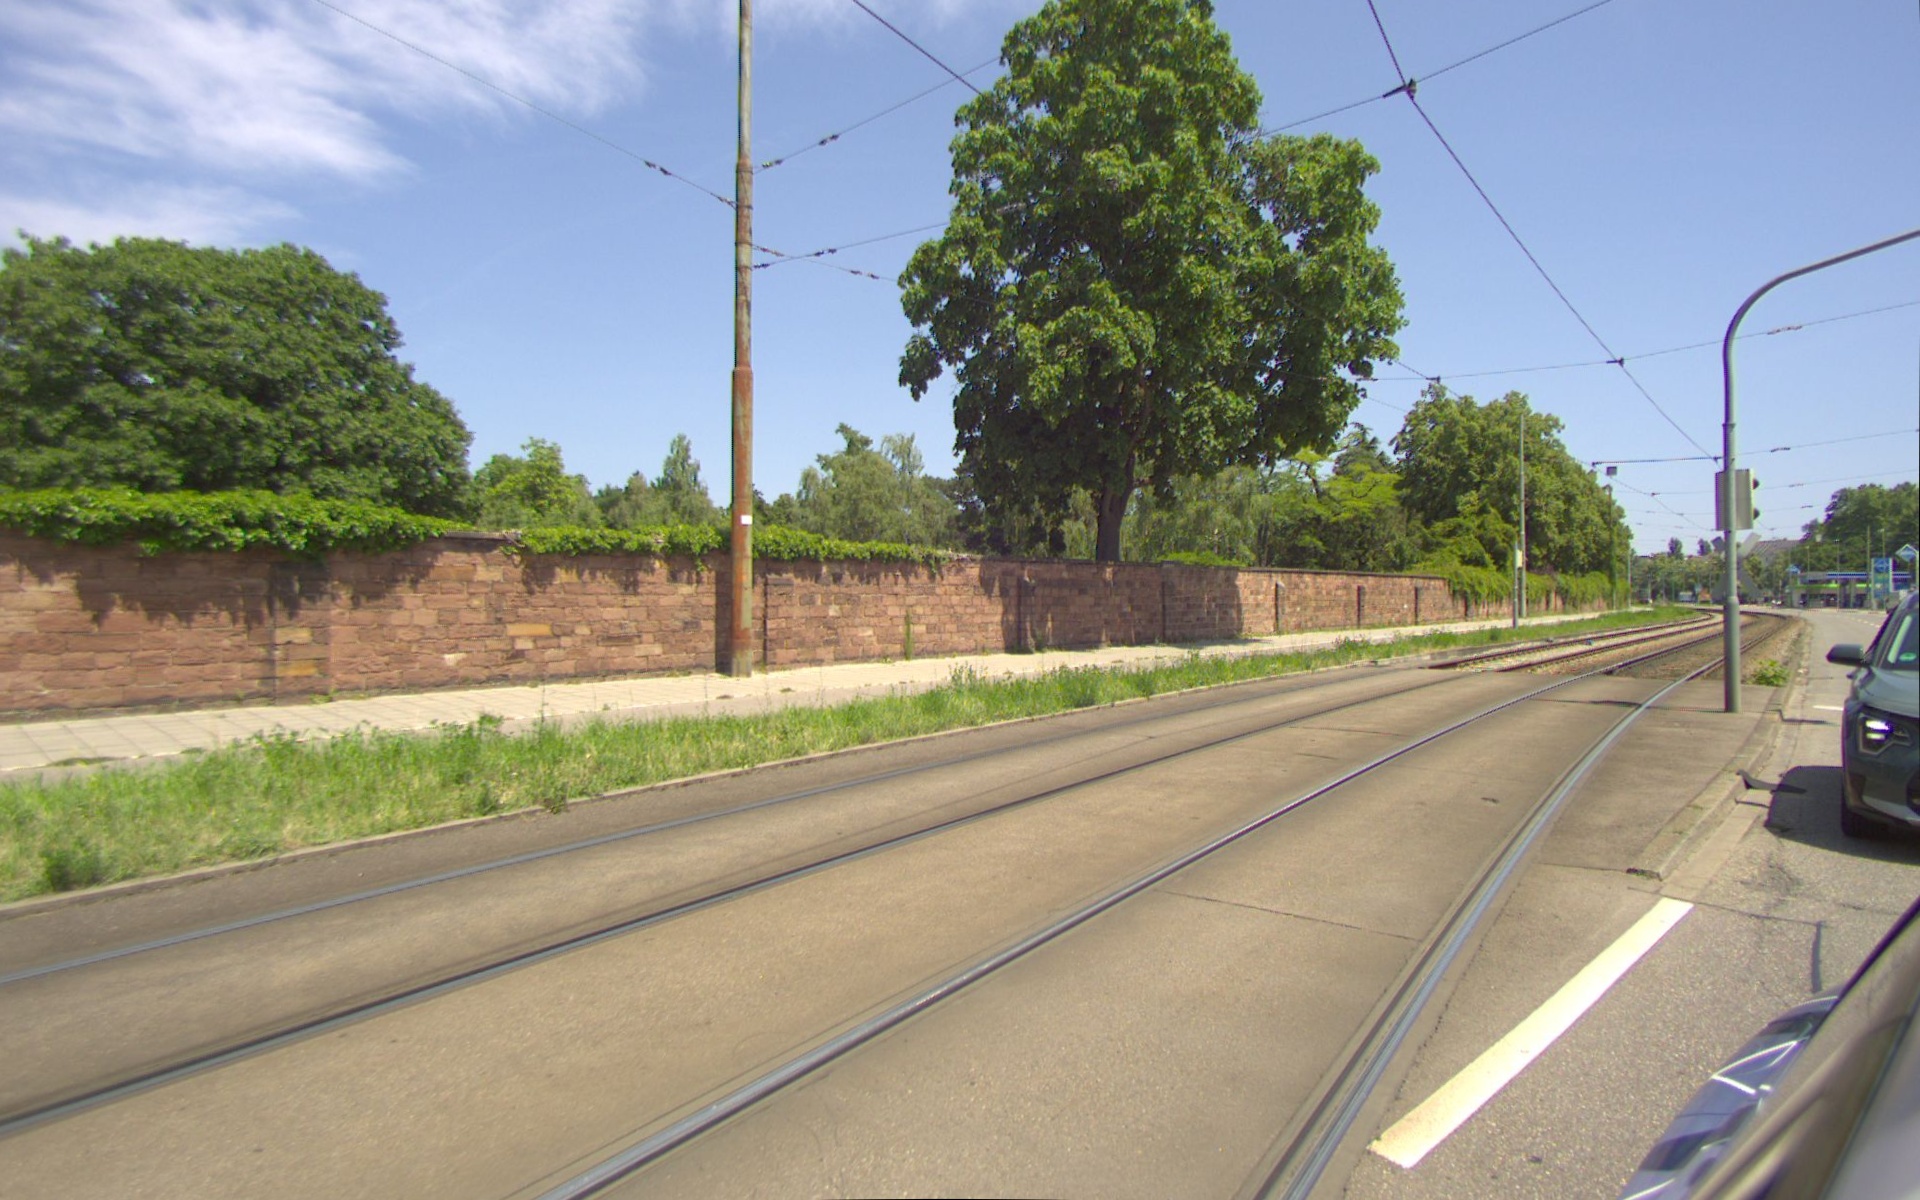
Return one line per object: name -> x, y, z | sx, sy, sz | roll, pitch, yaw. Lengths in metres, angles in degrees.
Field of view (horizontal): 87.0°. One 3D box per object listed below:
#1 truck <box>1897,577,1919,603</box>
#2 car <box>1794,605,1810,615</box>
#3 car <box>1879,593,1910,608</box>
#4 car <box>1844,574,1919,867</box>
truck -> 100.064, -1.052, 105.719 | 2.118, 2.614, 4.808 | -4, -3, 32
car -> 134.209, 1.584, 161.349 | 1.856, 1.515, 3.421 | -5, -3, 39
car -> 106.520, 0.090, 115.410 | 1.851, 1.515, 3.431 | -4, -3, 32
car -> 7.151, 0.638, 6.778 | 1.752, 1.603, 4.362 | -2, -1, 40
